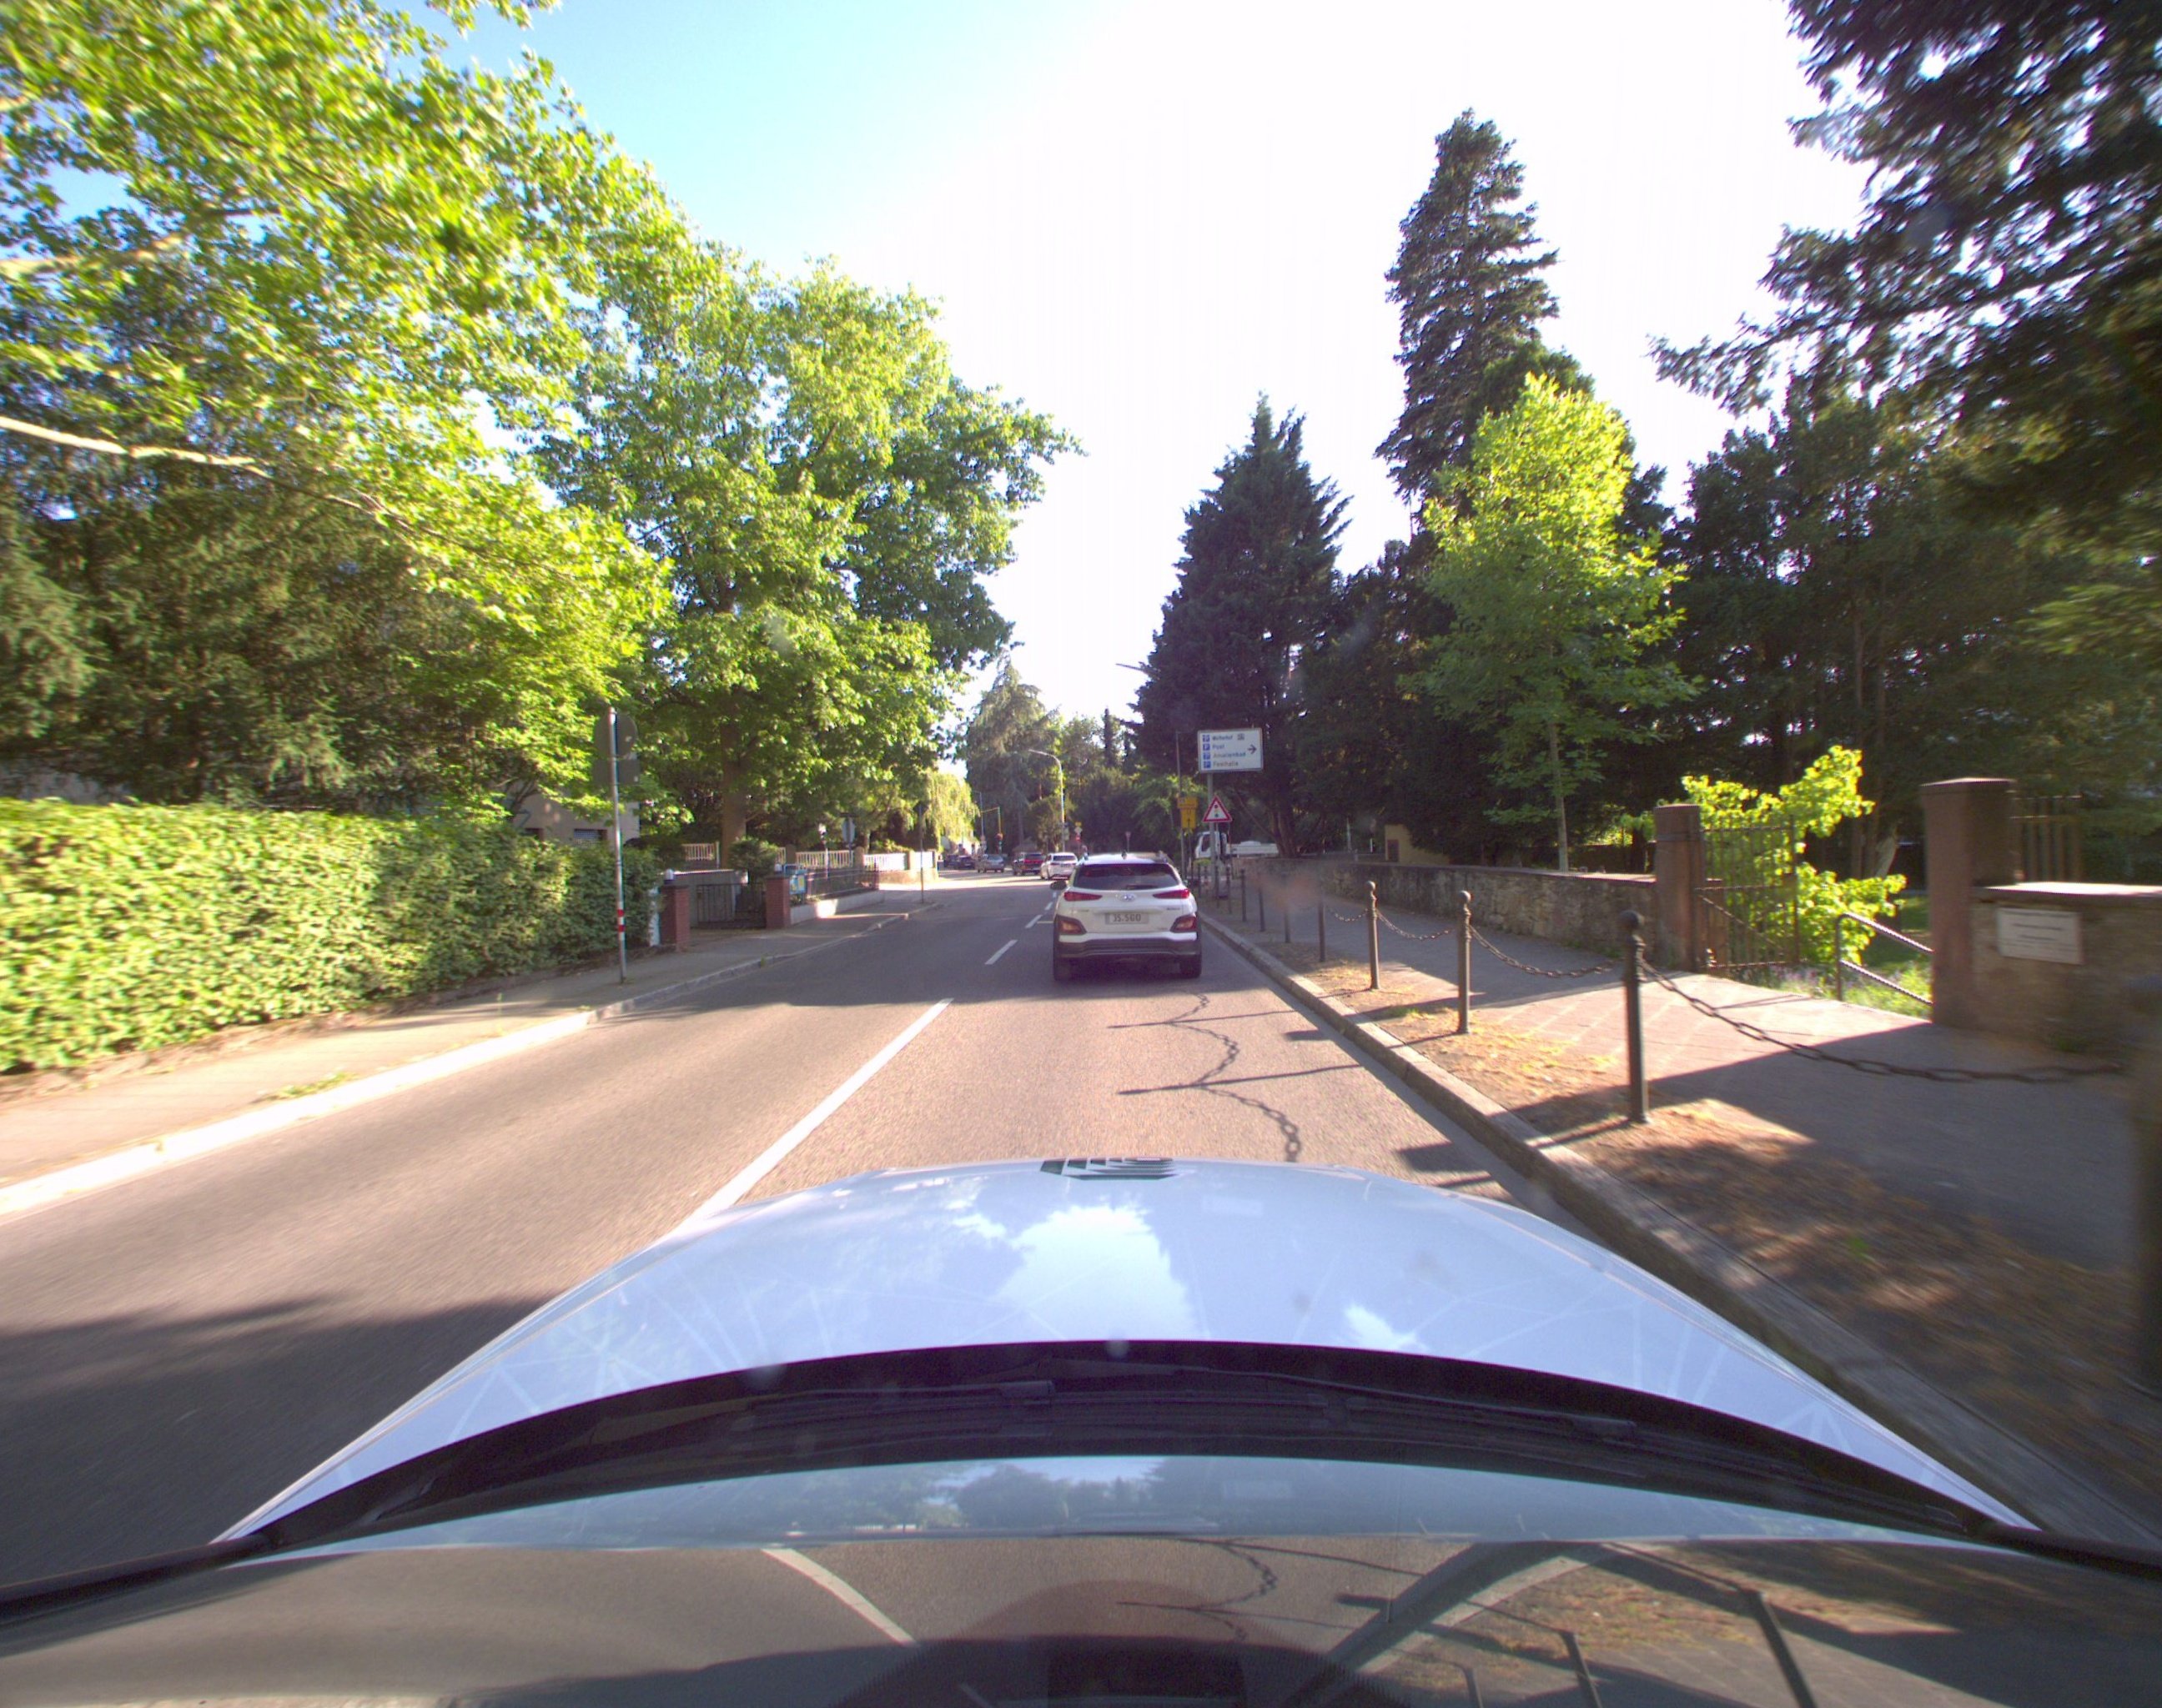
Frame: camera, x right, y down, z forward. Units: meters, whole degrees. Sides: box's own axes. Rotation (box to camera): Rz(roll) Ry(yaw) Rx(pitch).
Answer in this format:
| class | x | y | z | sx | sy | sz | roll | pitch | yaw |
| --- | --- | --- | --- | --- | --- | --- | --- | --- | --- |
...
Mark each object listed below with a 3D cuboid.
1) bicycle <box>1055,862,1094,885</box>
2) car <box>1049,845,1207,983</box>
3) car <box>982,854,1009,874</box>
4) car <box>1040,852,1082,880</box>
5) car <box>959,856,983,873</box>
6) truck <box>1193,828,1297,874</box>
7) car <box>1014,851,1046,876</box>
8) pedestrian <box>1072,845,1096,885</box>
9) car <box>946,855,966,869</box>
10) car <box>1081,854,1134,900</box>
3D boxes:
| class | x | y | z | sx | sy | sz | roll | pitch | yaw |
| --- | --- | --- | --- | --- | --- | --- | --- | --- | --- |
| bicycle | -0.296 | 0.905 | 38.101 | 1.825 | 1.043 | 0.555 | 0 | 1 | -36 |
| car | 0.592 | 0.687 | 11.366 | 1.814 | 1.574 | 4.001 | 0 | 0 | 1 |
| car | -7.525 | 0.843 | 71.155 | 1.834 | 1.740 | 3.981 | 0 | 0 | -14 |
| car | -1.201 | 0.650 | 46.091 | 1.806 | 1.537 | 3.986 | 0 | 0 | -10 |
| car | -11.130 | 1.000 | 82.073 | 1.835 | 1.662 | 3.979 | 0 | 0 | -16 |
| truck | 10.781 | -0.194 | 54.079 | 6.553 | 2.895 | 2.438 | 0 | 0 | 6 |
| car | -3.560 | 0.602 | 56.457 | 1.831 | 1.662 | 3.987 | 0 | 0 | -10 |
| pedestrian | 0.139 | 0.494 | 37.821 | 0.947 | 1.826 | 0.548 | 0 | 1 | -37 |
| car | -14.558 | 0.909 | 94.849 | 1.836 | 1.662 | 3.977 | 0 | 0 | -17 |
| car | 0.909 | 0.735 | 28.233 | 1.701 | 1.434 | 4.366 | 0 | 0 | 2 |
